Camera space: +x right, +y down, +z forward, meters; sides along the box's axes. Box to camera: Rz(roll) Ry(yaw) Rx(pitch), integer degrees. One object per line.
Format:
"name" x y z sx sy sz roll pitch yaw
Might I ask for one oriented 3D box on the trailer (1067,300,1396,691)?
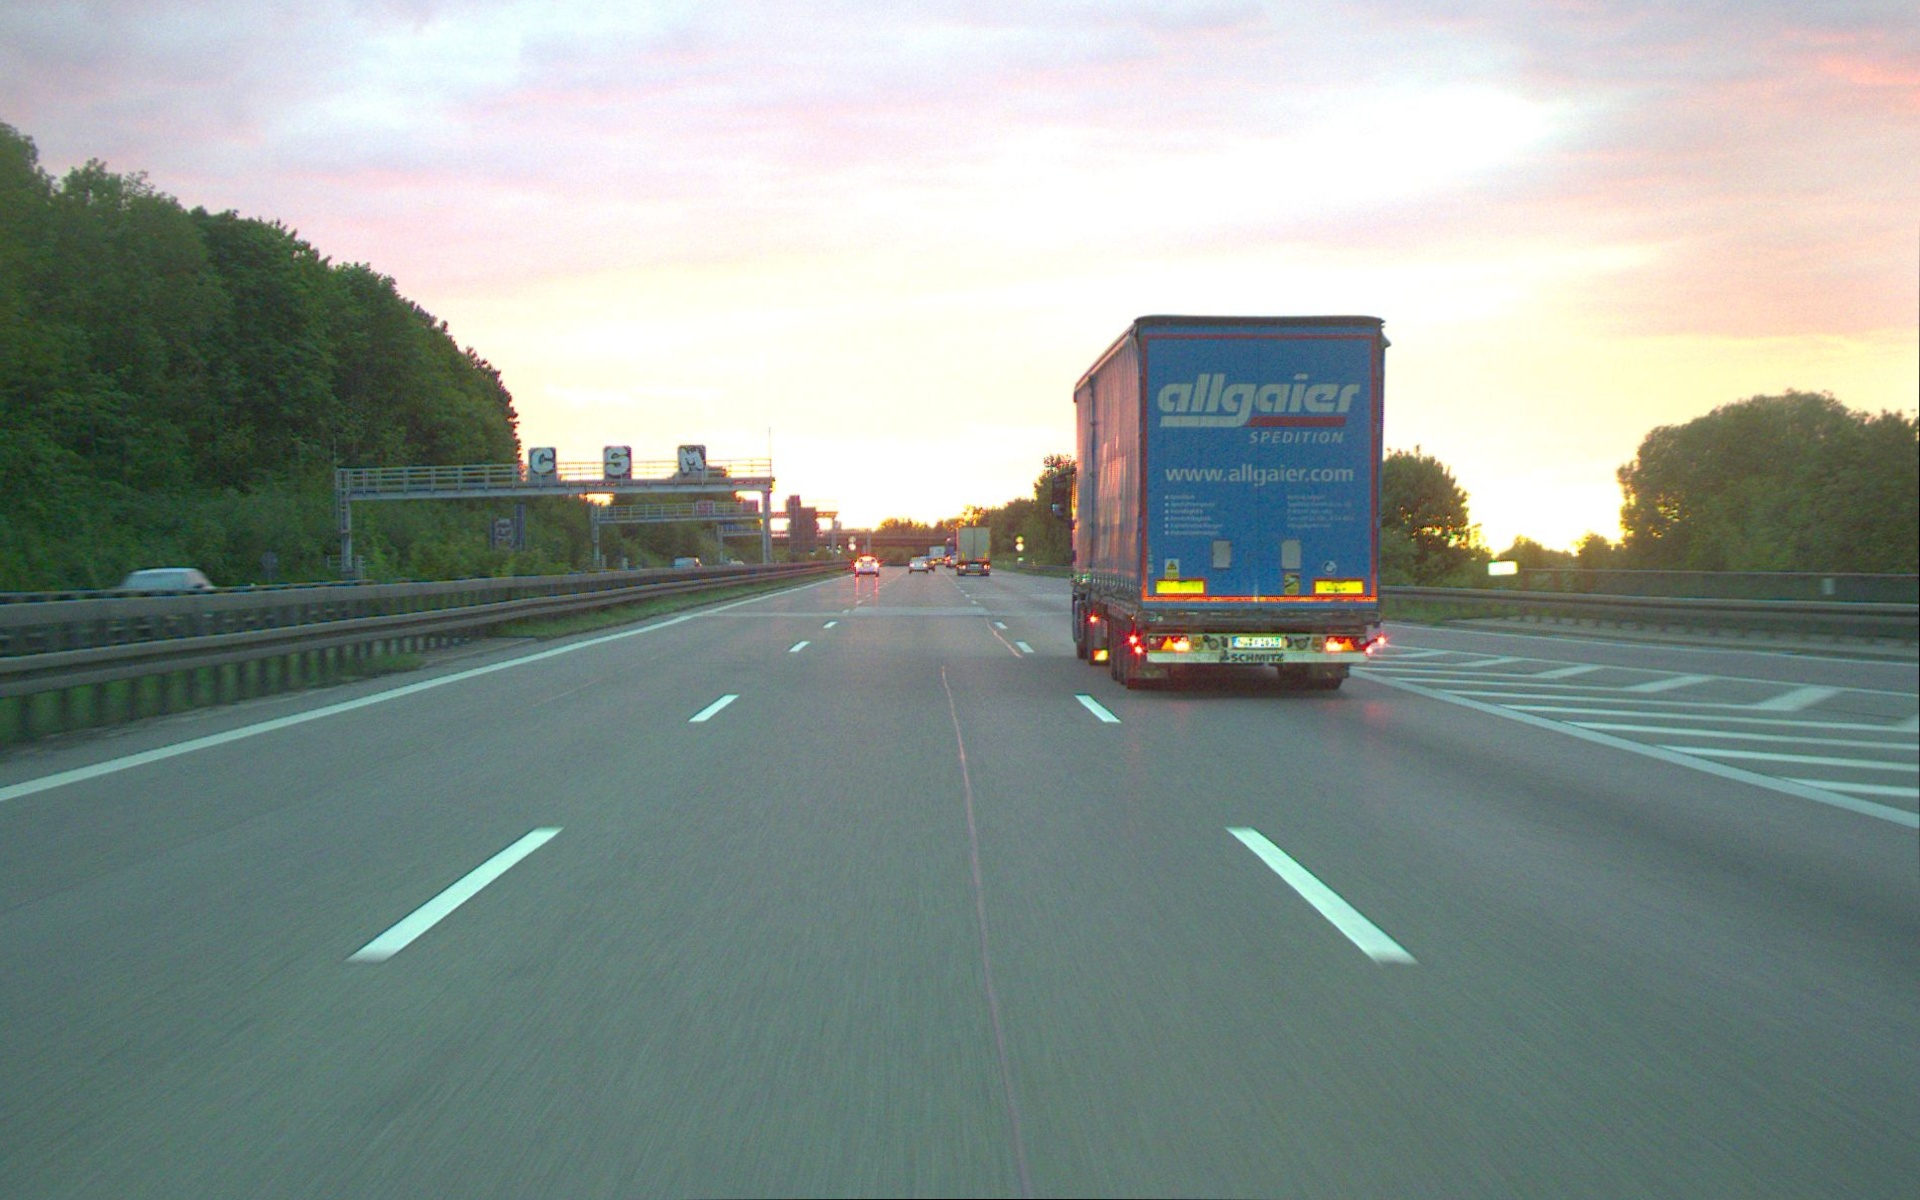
"trailer" 3.047 -1.172 42.737 2.771 4.072 13.740 0 1 -1

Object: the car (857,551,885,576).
"car" -6.680 -2.742 258.060 2.013 1.743 3.903 -4 1 -1

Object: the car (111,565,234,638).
"car" -17.891 0.018 78.334 1.729 1.581 4.645 0 1 0

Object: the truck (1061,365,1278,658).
"truck" 2.953 -1.245 49.897 2.736 3.983 5.849 0 1 0
